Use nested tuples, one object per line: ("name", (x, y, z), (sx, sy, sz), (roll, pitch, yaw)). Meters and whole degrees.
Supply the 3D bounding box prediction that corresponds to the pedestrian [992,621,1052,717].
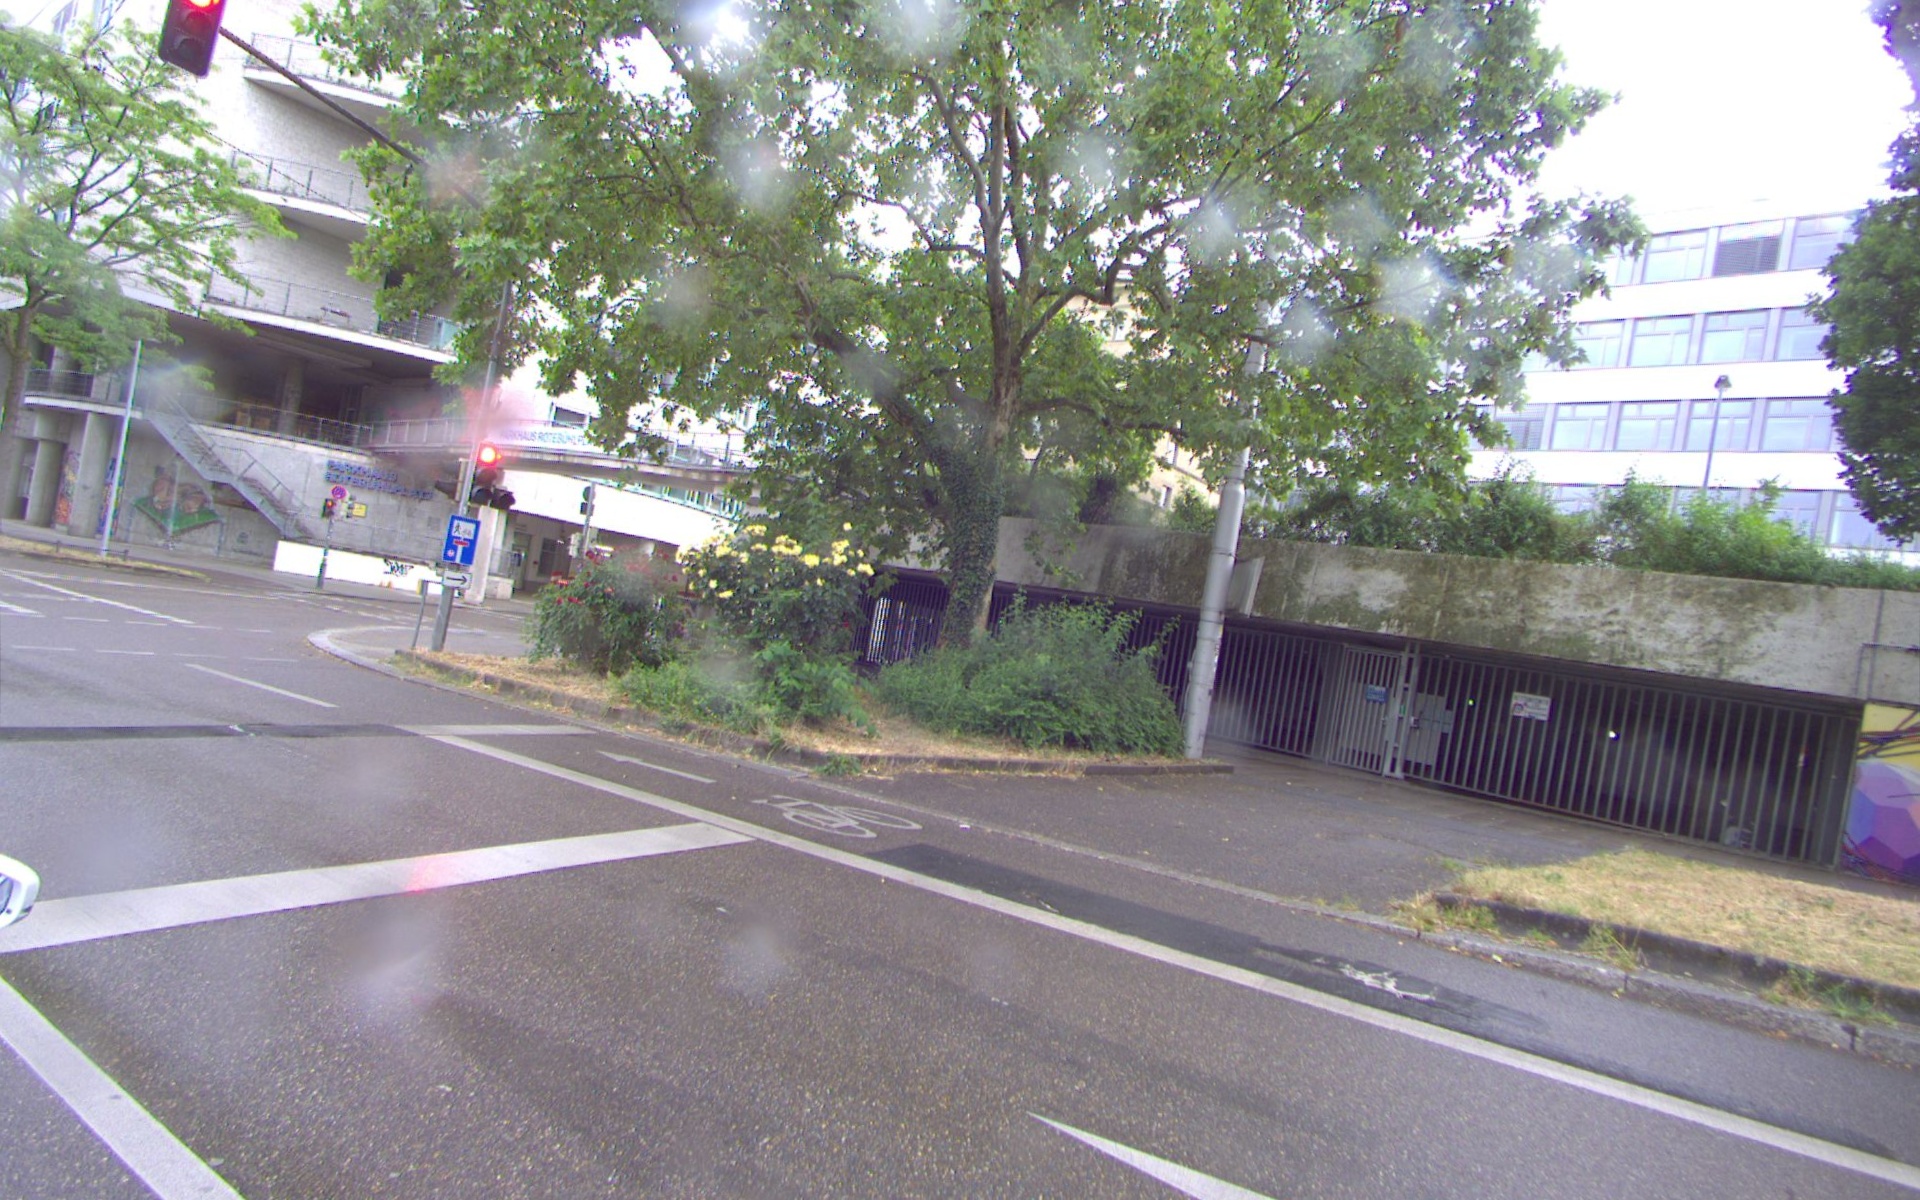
("pedestrian", (1.344, 1.491, 21.710), (0.745, 1.932, 0.847), (8, -1, 31))
